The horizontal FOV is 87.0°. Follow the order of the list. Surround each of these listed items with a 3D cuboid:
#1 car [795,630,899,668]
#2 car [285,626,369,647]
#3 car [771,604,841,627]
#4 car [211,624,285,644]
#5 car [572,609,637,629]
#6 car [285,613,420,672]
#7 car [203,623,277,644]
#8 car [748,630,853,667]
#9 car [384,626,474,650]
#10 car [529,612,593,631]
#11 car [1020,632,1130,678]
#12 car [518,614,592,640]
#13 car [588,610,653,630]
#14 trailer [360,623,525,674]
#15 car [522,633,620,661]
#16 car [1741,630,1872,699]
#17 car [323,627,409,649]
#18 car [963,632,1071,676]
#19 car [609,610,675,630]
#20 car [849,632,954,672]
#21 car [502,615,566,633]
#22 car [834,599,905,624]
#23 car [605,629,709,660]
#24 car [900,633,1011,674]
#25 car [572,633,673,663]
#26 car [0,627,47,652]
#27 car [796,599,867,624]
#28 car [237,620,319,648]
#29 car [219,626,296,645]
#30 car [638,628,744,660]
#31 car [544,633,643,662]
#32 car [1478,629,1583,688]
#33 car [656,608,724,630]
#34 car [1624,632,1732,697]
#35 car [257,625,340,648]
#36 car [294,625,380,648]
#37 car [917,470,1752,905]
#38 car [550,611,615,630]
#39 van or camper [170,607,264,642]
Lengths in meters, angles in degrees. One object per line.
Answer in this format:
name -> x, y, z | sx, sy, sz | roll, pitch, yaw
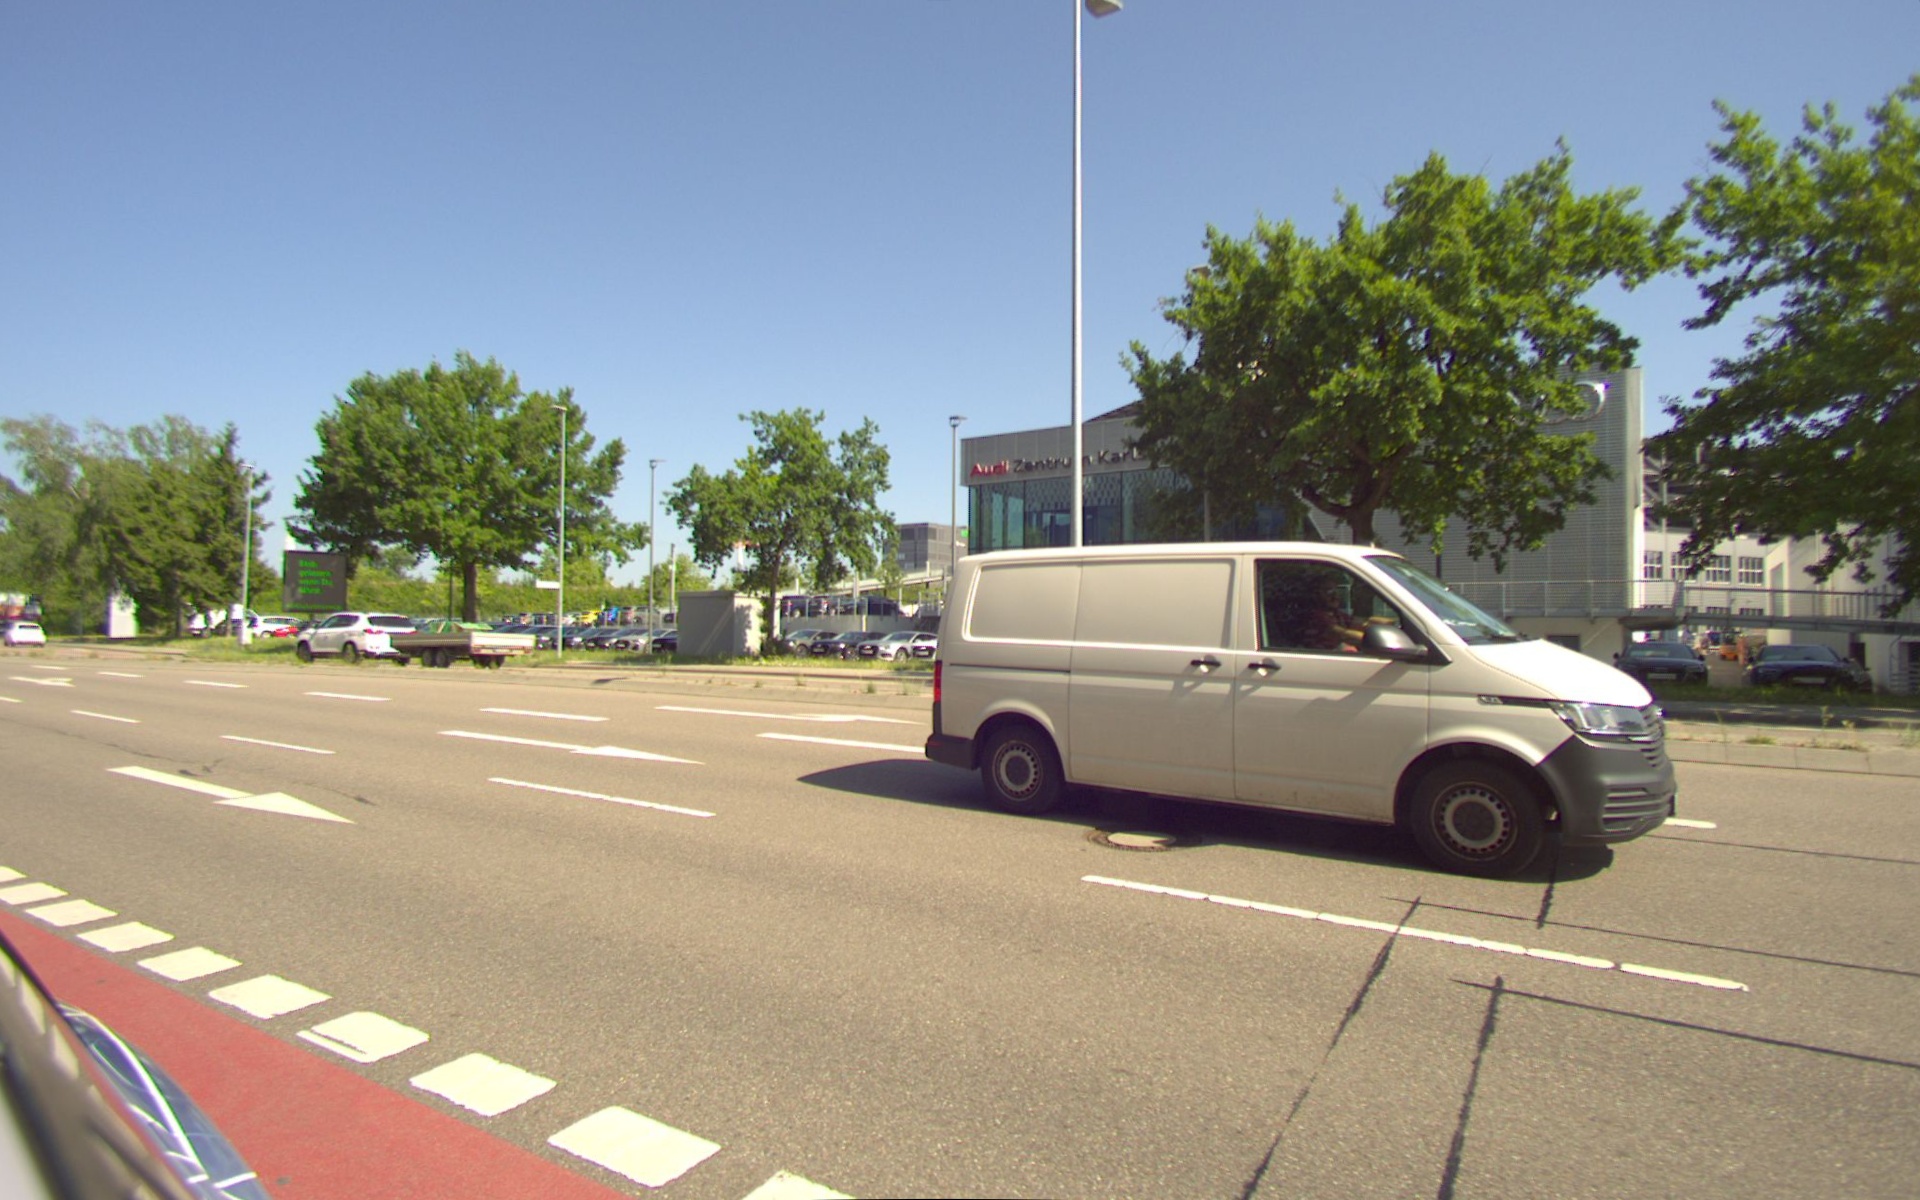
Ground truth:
car -> -4.327, 1.905, 39.375 | 1.861, 1.386, 3.951 | -1, -3, 36
car -> -41.658, 2.431, 66.669 | 1.951, 1.338, 4.225 | -1, -3, 38
car -> -9.676, 1.018, 63.748 | 1.950, 1.361, 4.227 | -1, -3, 36
car -> -50.782, 2.449, 72.238 | 1.743, 1.364, 4.044 | 0, -2, 41
car -> -26.581, 1.459, 75.681 | 1.950, 1.361, 4.227 | -1, -3, 36
car -> -20.584, 1.414, 34.230 | 4.924, 1.847, 1.977 | -1, -3, 34
car -> -52.364, 2.474, 73.629 | 1.743, 1.450, 4.044 | -2, -3, 41
car -> -6.382, 1.946, 40.839 | 1.996, 1.386, 3.951 | -1, -3, 36
car -> -30.906, 2.230, 58.998 | 1.951, 1.361, 4.225 | -1, -3, 38
car -> -30.749, 1.698, 78.143 | 1.950, 1.361, 4.227 | -1, -3, 36
car -> 3.844, 1.790, 33.235 | 1.920, 1.386, 3.951 | -1, -3, 36
car -> -27.519, 1.864, 68.883 | 1.951, 1.655, 4.225 | -1, -3, 38
car -> -24.906, 1.473, 74.383 | 1.950, 1.361, 4.227 | -1, -3, 36
trailer -> -16.040, 1.455, 31.222 | 5.756, 1.464, 1.977 | -1, -3, 34
car -> -19.586, 2.354, 51.103 | 1.951, 1.361, 4.225 | -1, -3, 38
car -> 18.912, 1.410, 22.777 | 1.920, 1.386, 3.951 | -1, -3, 36
car -> -37.209, 2.398, 63.466 | 1.951, 1.361, 4.225 | -1, -3, 38
car -> 2.016, 1.832, 34.694 | 1.920, 1.386, 3.951 | -1, -3, 36
car -> -22.776, 1.471, 72.606 | 1.950, 1.361, 4.227 | -1, -3, 36
car -> -2.126, 1.936, 37.806 | 1.861, 1.386, 3.951 | -1, -3, 36
car -> -33.572, 1.896, 79.865 | 1.950, 1.361, 4.227 | -1, -3, 36
car -> -5.363, 0.705, 60.499 | 1.950, 1.361, 4.227 | -1, -3, 36
car -> -13.872, 2.046, 46.516 | 1.951, 1.361, 4.225 | -1, -3, 38
car -> -0.105, 1.907, 36.383 | 2.021, 1.386, 4.006 | -1, -3, 36
car -> -16.176, 2.311, 48.621 | 1.951, 1.361, 4.225 | -1, -3, 38
car -> -58.347, 2.472, 62.801 | 3.540, 1.475, 1.640 | -1, -4, 33
car -> -7.860, 0.728, 62.303 | 1.950, 1.361, 4.227 | -1, -3, 36
car -> -46.501, 2.340, 69.046 | 1.951, 1.899, 4.225 | -1, -3, 38
car -> -48.707, 2.495, 70.271 | 1.741, 1.303, 4.048 | -1, -3, 38
car -> -11.923, 1.942, 45.050 | 1.951, 1.361, 4.225 | -1, -3, 38
car -> -17.964, 2.340, 49.763 | 1.951, 1.361, 4.225 | -1, -3, 38
car -> 14.663, 1.463, 25.911 | 1.920, 1.386, 3.951 | -1, -3, 36
car -> -18.455, 1.328, 69.401 | 1.950, 1.361, 4.227 | -1, -3, 36
car -> 17.029, 1.491, 24.046 | 1.920, 1.386, 3.951 | -1, -3, 36
car -> -44.392, 2.466, 67.991 | 1.951, 1.515, 4.225 | -1, -3, 38
car -> -39.426, 2.323, 64.099 | 1.951, 1.392, 4.225 | -1, -3, 38
car -> 2.209, 0.478, 6.937 | 4.966, 2.009, 1.864 | -1, -3, 37
car -> -28.672, 1.556, 76.979 | 1.950, 1.361, 4.227 | -1, -3, 36
van or camper -> -55.757, 1.821, 76.043 | 1.994, 2.489, 5.335 | -3, -1, 33
